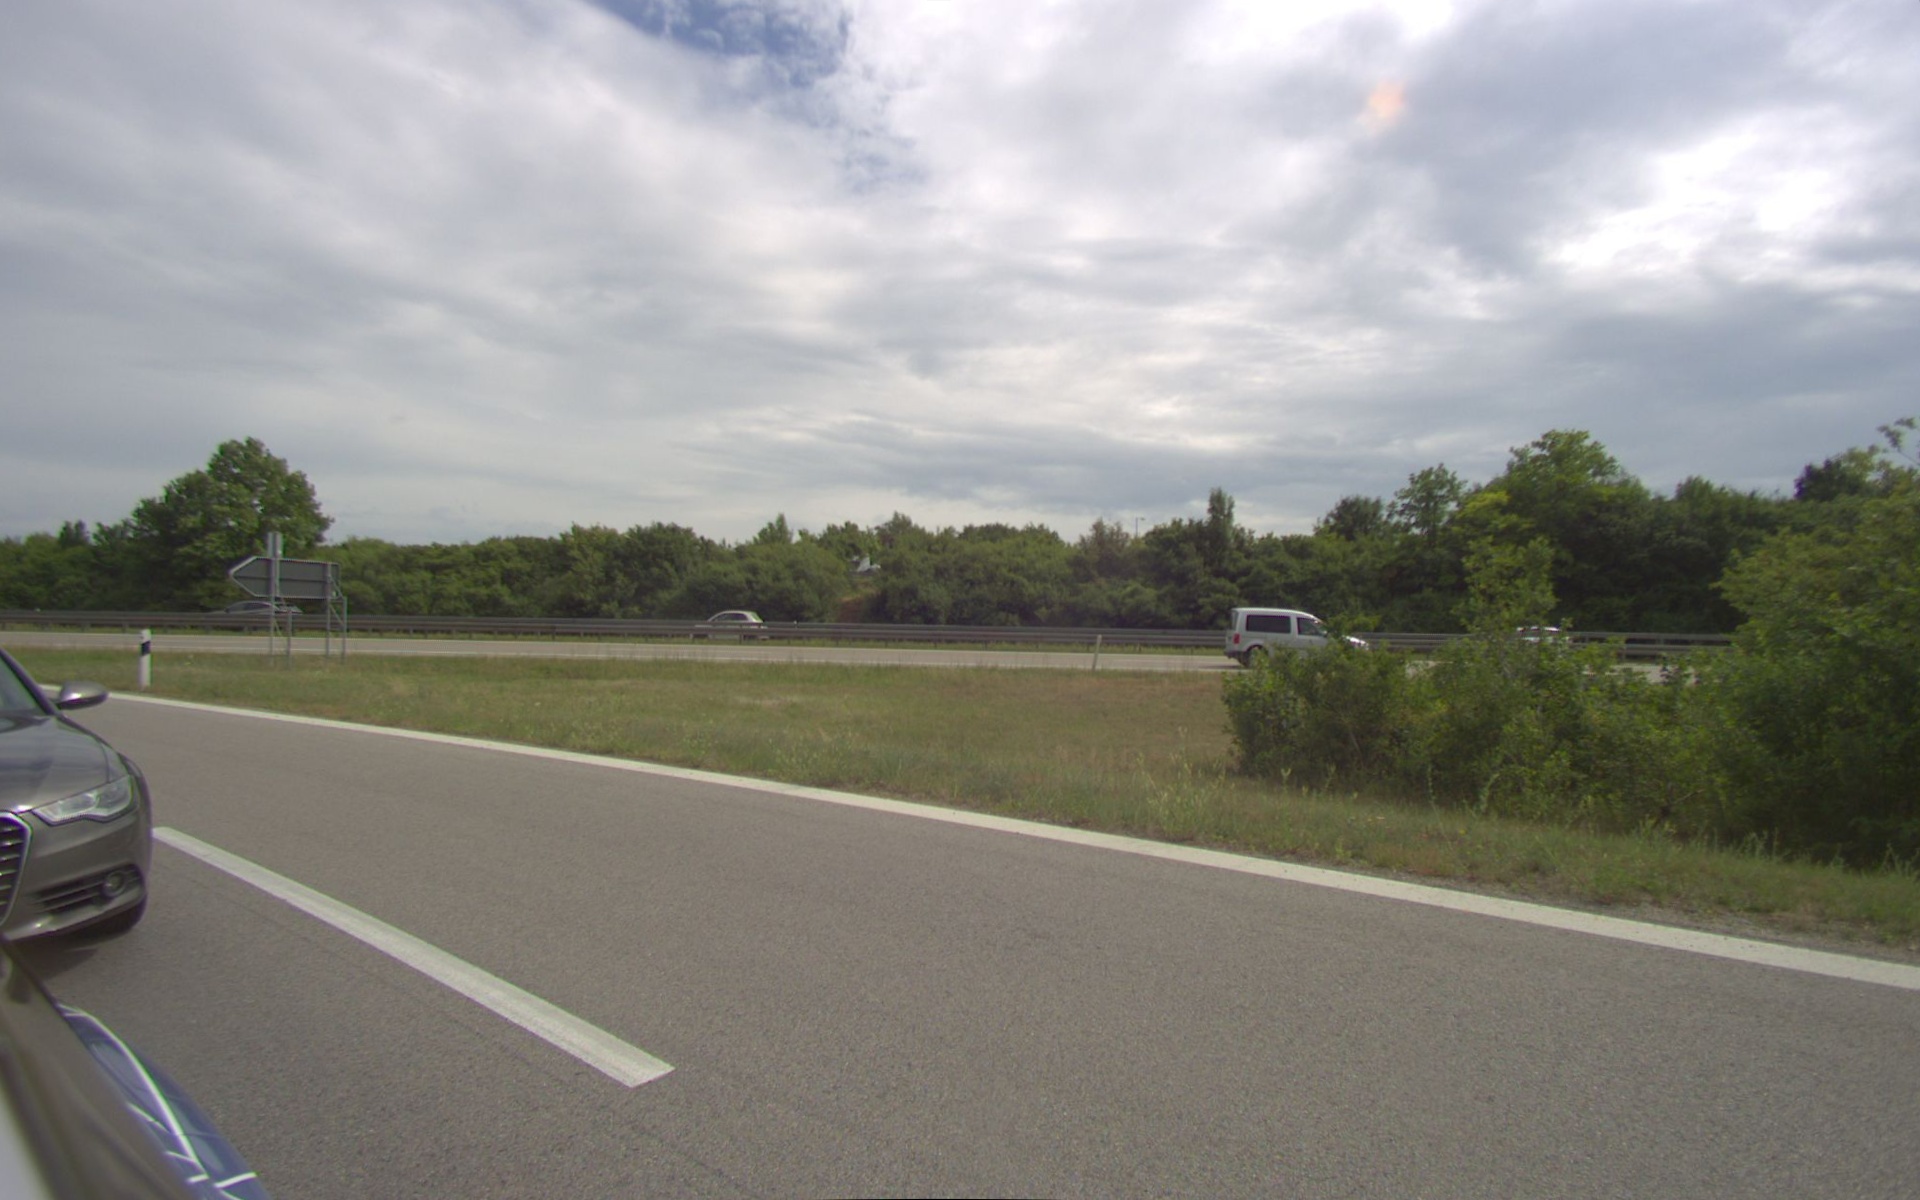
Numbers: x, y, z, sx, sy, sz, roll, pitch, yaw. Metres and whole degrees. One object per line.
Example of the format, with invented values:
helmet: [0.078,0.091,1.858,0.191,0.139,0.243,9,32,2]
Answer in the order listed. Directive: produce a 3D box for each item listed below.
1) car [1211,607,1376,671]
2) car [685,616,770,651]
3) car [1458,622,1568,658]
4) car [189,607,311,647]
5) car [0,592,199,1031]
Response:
car: [10.137,1.157,31.095,4.459,1.806,2.206,1,-1,8]
car: [-10.497,1.502,45.812,3.478,1.520,1.538,1,-1,5]
car: [25.181,1.821,46.196,3.950,1.497,1.810,1,0,5]
car: [-33.977,1.284,48.465,4.921,1.806,1.712,1,-1,8]
car: [-5.347,0.766,4.670,4.534,1.526,1.973,-1,-1,40]
